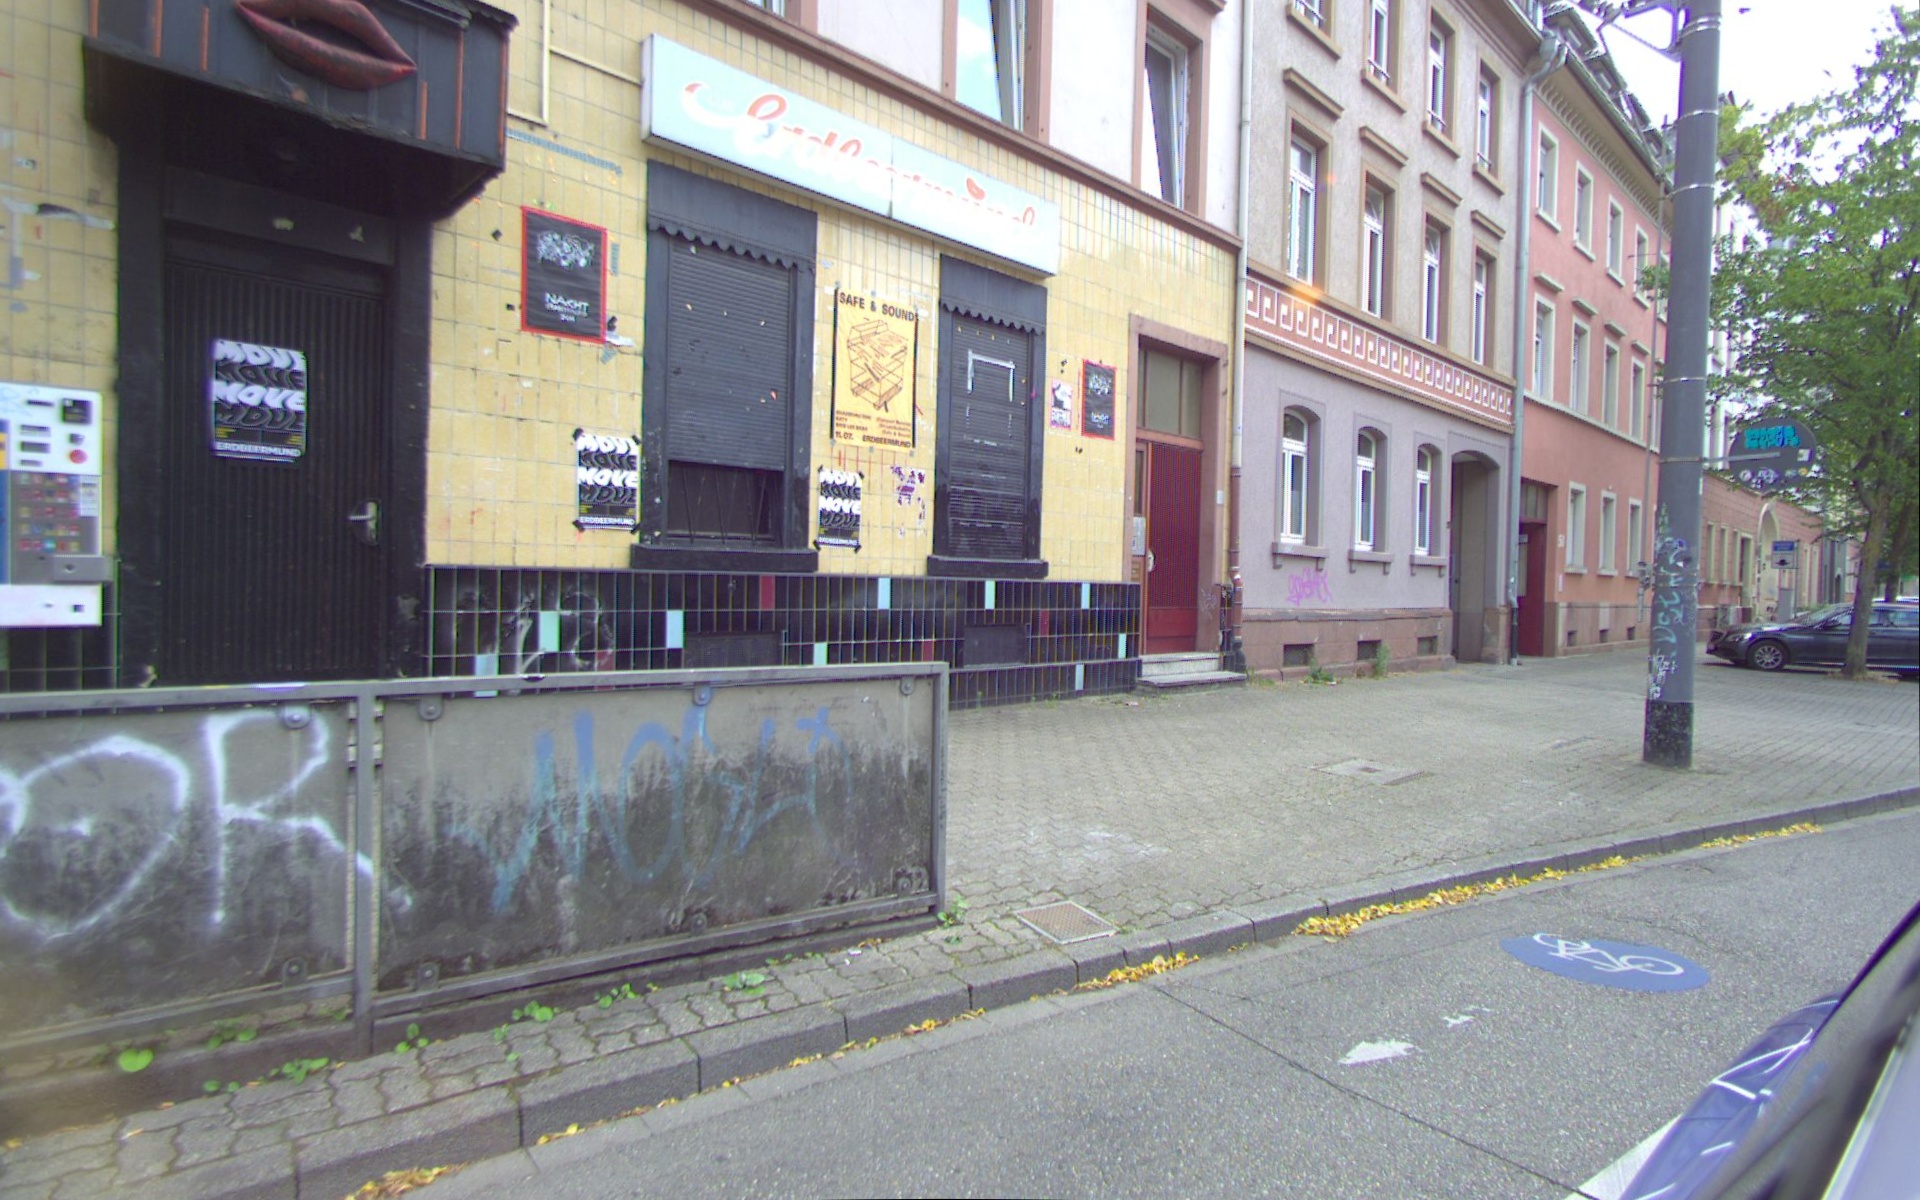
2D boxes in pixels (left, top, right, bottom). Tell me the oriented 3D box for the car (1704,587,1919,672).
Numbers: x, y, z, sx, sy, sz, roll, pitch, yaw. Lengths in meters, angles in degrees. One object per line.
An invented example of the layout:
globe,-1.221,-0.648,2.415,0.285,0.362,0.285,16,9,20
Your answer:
car,18.031,0.587,20.360,4.581,1.491,1.774,3,2,25

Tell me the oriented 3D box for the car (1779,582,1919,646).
car,27.693,0.431,30.546,4.196,1.719,1.725,3,2,25

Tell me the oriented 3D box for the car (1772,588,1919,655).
car,23.152,0.555,25.107,4.301,1.498,1.774,3,2,25

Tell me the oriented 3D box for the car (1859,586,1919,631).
car,39.326,0.414,40.455,4.581,1.719,1.901,3,2,25

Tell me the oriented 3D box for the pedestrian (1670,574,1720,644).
pedestrian,18.710,0.222,25.766,0.910,1.708,0.732,1,4,-42
